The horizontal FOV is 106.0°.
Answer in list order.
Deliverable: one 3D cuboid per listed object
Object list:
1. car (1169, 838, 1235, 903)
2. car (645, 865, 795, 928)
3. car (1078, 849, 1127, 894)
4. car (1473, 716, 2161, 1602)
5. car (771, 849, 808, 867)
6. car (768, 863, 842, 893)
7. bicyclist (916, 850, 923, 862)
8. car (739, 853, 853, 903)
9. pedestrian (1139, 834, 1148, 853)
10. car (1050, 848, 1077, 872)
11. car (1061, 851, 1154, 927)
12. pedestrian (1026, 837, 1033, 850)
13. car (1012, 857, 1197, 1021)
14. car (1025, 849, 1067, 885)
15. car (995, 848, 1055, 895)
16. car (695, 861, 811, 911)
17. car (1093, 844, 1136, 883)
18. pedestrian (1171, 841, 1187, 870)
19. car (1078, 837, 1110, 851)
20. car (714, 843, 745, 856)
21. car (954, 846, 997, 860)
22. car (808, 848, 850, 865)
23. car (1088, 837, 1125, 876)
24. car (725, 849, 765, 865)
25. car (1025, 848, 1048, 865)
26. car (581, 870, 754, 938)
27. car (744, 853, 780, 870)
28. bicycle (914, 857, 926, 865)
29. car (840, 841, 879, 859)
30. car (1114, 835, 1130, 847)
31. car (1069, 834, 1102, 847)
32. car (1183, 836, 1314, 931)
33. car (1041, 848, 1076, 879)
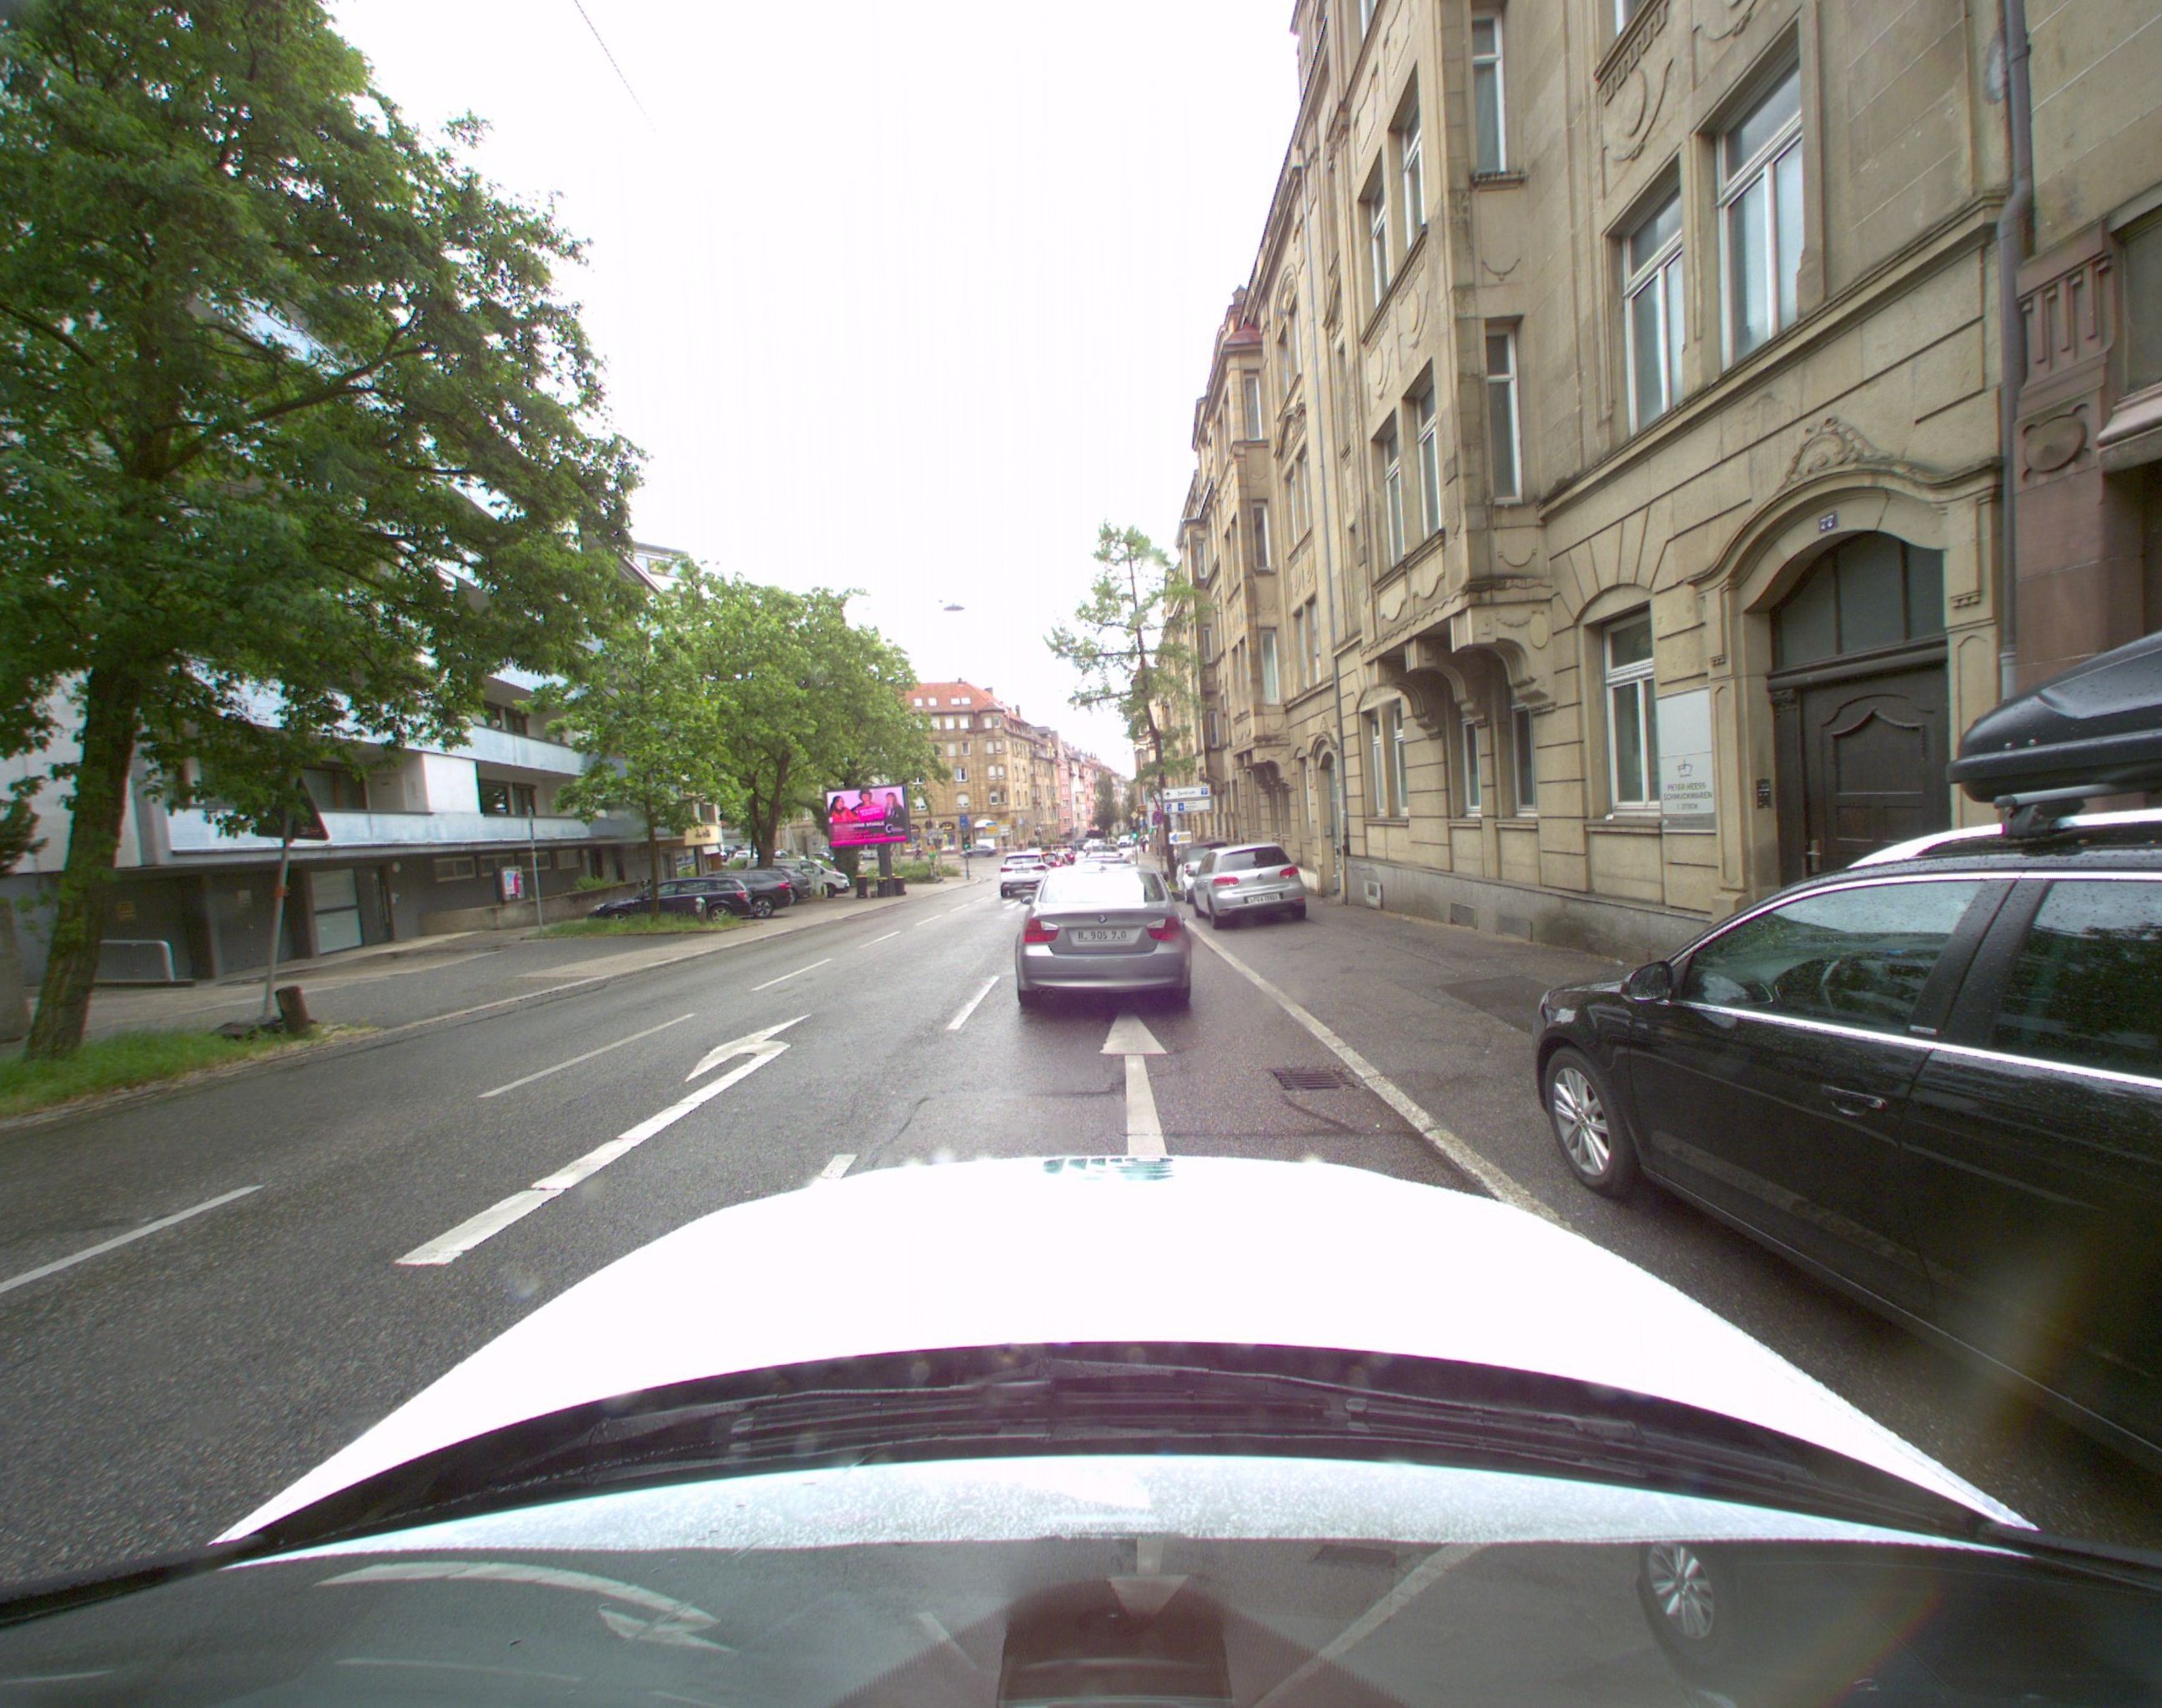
[{"bbox_3d":[3.322,0.421,22.812,1.295,1.543,2.977,-7,0,1],"label":"car"},{"bbox_3d":[-11.971,1.370,27.334,4.382,1.672,1.842,-4,0,-21],"label":"car"},{"bbox_3d":[0.808,0.566,28.587,1.588,1.464,4.003,0,0,3],"label":"car"},{"bbox_3d":[2.822,0.475,1.959,1.753,1.651,4.101,-7,0,2],"label":"car"},{"bbox_3d":[-36.925,0.500,103.121,4.238,2.101,2.013,0,2,30],"label":"car"},{"bbox_3d":[-16.096,1.377,47.552,3.985,1.450,1.758,-3,0,-19],"label":"car"},{"bbox_3d":[-17.077,0.174,86.092,0.565,1.273,0.692,-1,-1,14],"label":"bicyclist"},{"bbox_3d":[-13.962,1.162,40.046,5.076,2.105,1.979,-3,0,-19],"label":"car"},{"bbox_3d":[6.339,-1.079,82.757,0.740,1.910,0.659,-3,0,1],"label":"pedestrian"},{"bbox_3d":[-1.311,0.408,62.638,1.752,1.707,4.003,-2,0,3],"label":"car"},{"bbox_3d":[0.625,0.676,17.827,1.752,1.383,4.003,-2,0,3],"label":"car"},{"bbox_3d":[-6.424,-1.274,101.277,0.727,1.577,0.530,-3,0,10],"label":"pedestrian"},{"bbox_3d":[0.304,0.771,9.138,1.617,1.383,3.618,-2,0,3],"label":"car"},{"bbox_3d":[-1.742,0.639,41.878,1.752,1.707,4.003,-2,0,3],"label":"car"},{"bbox_3d":[-2.055,0.621,31.010,1.861,1.625,4.001,-2,0,1],"label":"car"},{"bbox_3d":[-13.845,1.326,34.637,4.370,1.784,1.927,-3,0,-19],"label":"car"},{"bbox_3d":[1.431,0.383,35.826,1.753,1.567,4.001,-2,1,1],"label":"car"},{"bbox_3d":[5.388,0.087,44.577,0.629,1.508,0.693,-7,0,1],"label":"pedestrian"},{"bbox_3d":[1.598,-1.232,99.643,1.974,1.578,4.025,-1,-1,34],"label":"car"},{"bbox_3d":[-47.108,-0.636,109.038,3.949,1.689,1.738,-1,-1,29],"label":"car"},{"bbox_3d":[-12.177,-0.112,93.797,4.654,1.578,1.987,0,-1,-20],"label":"car"},{"bbox_3d":[-26.987,0.293,87.100,4.194,1.726,2.013,-1,2,32],"label":"car"},{"bbox_3d":[1.459,0.138,47.121,1.986,2.106,4.002,-2,0,2],"label":"car"},{"bbox_3d":[-38.858,0.359,94.118,4.195,1.726,2.013,-2,3,31],"label":"car"},{"bbox_3d":[-3.921,0.208,72.648,1.709,1.450,3.743,-3,0,1],"label":"car"},{"bbox_3d":[-12.283,1.440,24.538,4.373,1.574,1.930,-4,0,-21],"label":"car"},{"bbox_3d":[-41.478,0.902,105.821,4.238,2.101,2.013,0,2,30],"label":"car"},{"bbox_3d":[-17.033,0.717,86.189,0.569,0.858,1.528,-1,-1,15],"label":"bicycle"},{"bbox_3d":[-26.505,-0.522,97.456,4.238,2.101,2.013,0,2,30],"label":"car"},{"bbox_3d":[6.122,-1.929,120.425,1.983,1.578,4.008,0,-1,7],"label":"car"},{"bbox_3d":[0.757,-2.094,130.509,5.158,2.014,2.699,0,-1,1],"label":"car"},{"bbox_3d":[3.195,0.510,16.332,1.753,1.451,4.001,-7,0,1],"label":"car"},{"bbox_3d":[-1.320,0.536,49.108,1.752,1.707,4.003,-2,0,3],"label":"car"}]
